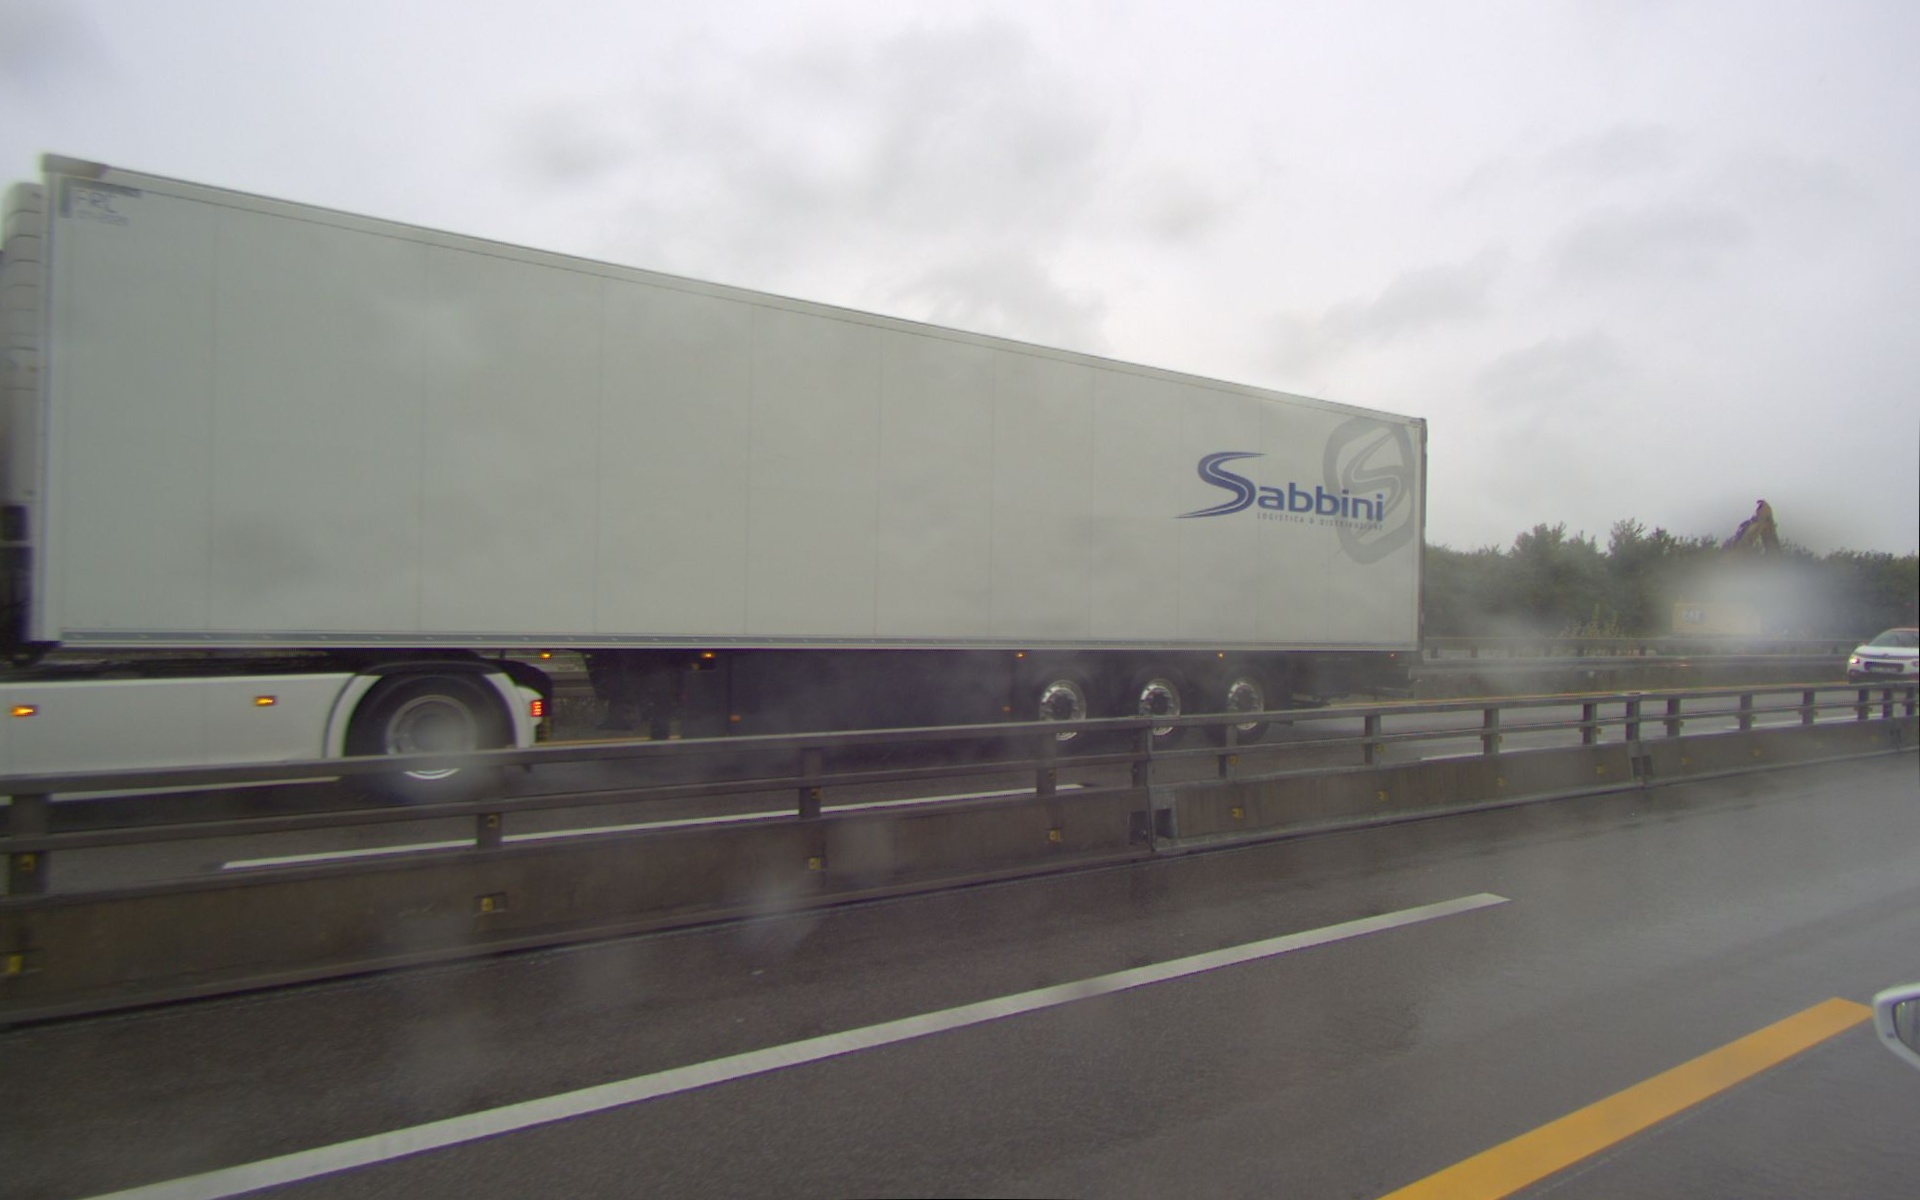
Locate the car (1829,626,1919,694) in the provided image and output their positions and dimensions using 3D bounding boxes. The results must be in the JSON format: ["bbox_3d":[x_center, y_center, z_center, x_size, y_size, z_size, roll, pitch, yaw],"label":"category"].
[{"bbox_3d":[23.503,1.461,24.706,4.246,1.525,1.984,2,-1,-30],"label":"car"}]

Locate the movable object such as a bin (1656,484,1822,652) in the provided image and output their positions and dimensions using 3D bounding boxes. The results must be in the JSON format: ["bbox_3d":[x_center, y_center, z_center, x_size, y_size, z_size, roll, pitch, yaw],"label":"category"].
[{"bbox_3d":[41.248,-1.498,53.156,8.202,8.252,3.582,2,1,-27],"label":"movable object such as a bin"}]

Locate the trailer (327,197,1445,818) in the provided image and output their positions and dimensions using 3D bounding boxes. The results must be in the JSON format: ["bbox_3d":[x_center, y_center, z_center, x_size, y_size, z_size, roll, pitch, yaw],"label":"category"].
[{"bbox_3d":[0.289,-0.535,11.032,12.076,4.144,2.893,1,-1,-31],"label":"trailer"}]

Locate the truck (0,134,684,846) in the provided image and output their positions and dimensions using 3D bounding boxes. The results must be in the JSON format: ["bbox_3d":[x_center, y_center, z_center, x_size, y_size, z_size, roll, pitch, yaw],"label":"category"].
[{"bbox_3d":[-5.833,-0.630,7.394,6.845,4.156,2.870,1,0,-30],"label":"truck"}]
